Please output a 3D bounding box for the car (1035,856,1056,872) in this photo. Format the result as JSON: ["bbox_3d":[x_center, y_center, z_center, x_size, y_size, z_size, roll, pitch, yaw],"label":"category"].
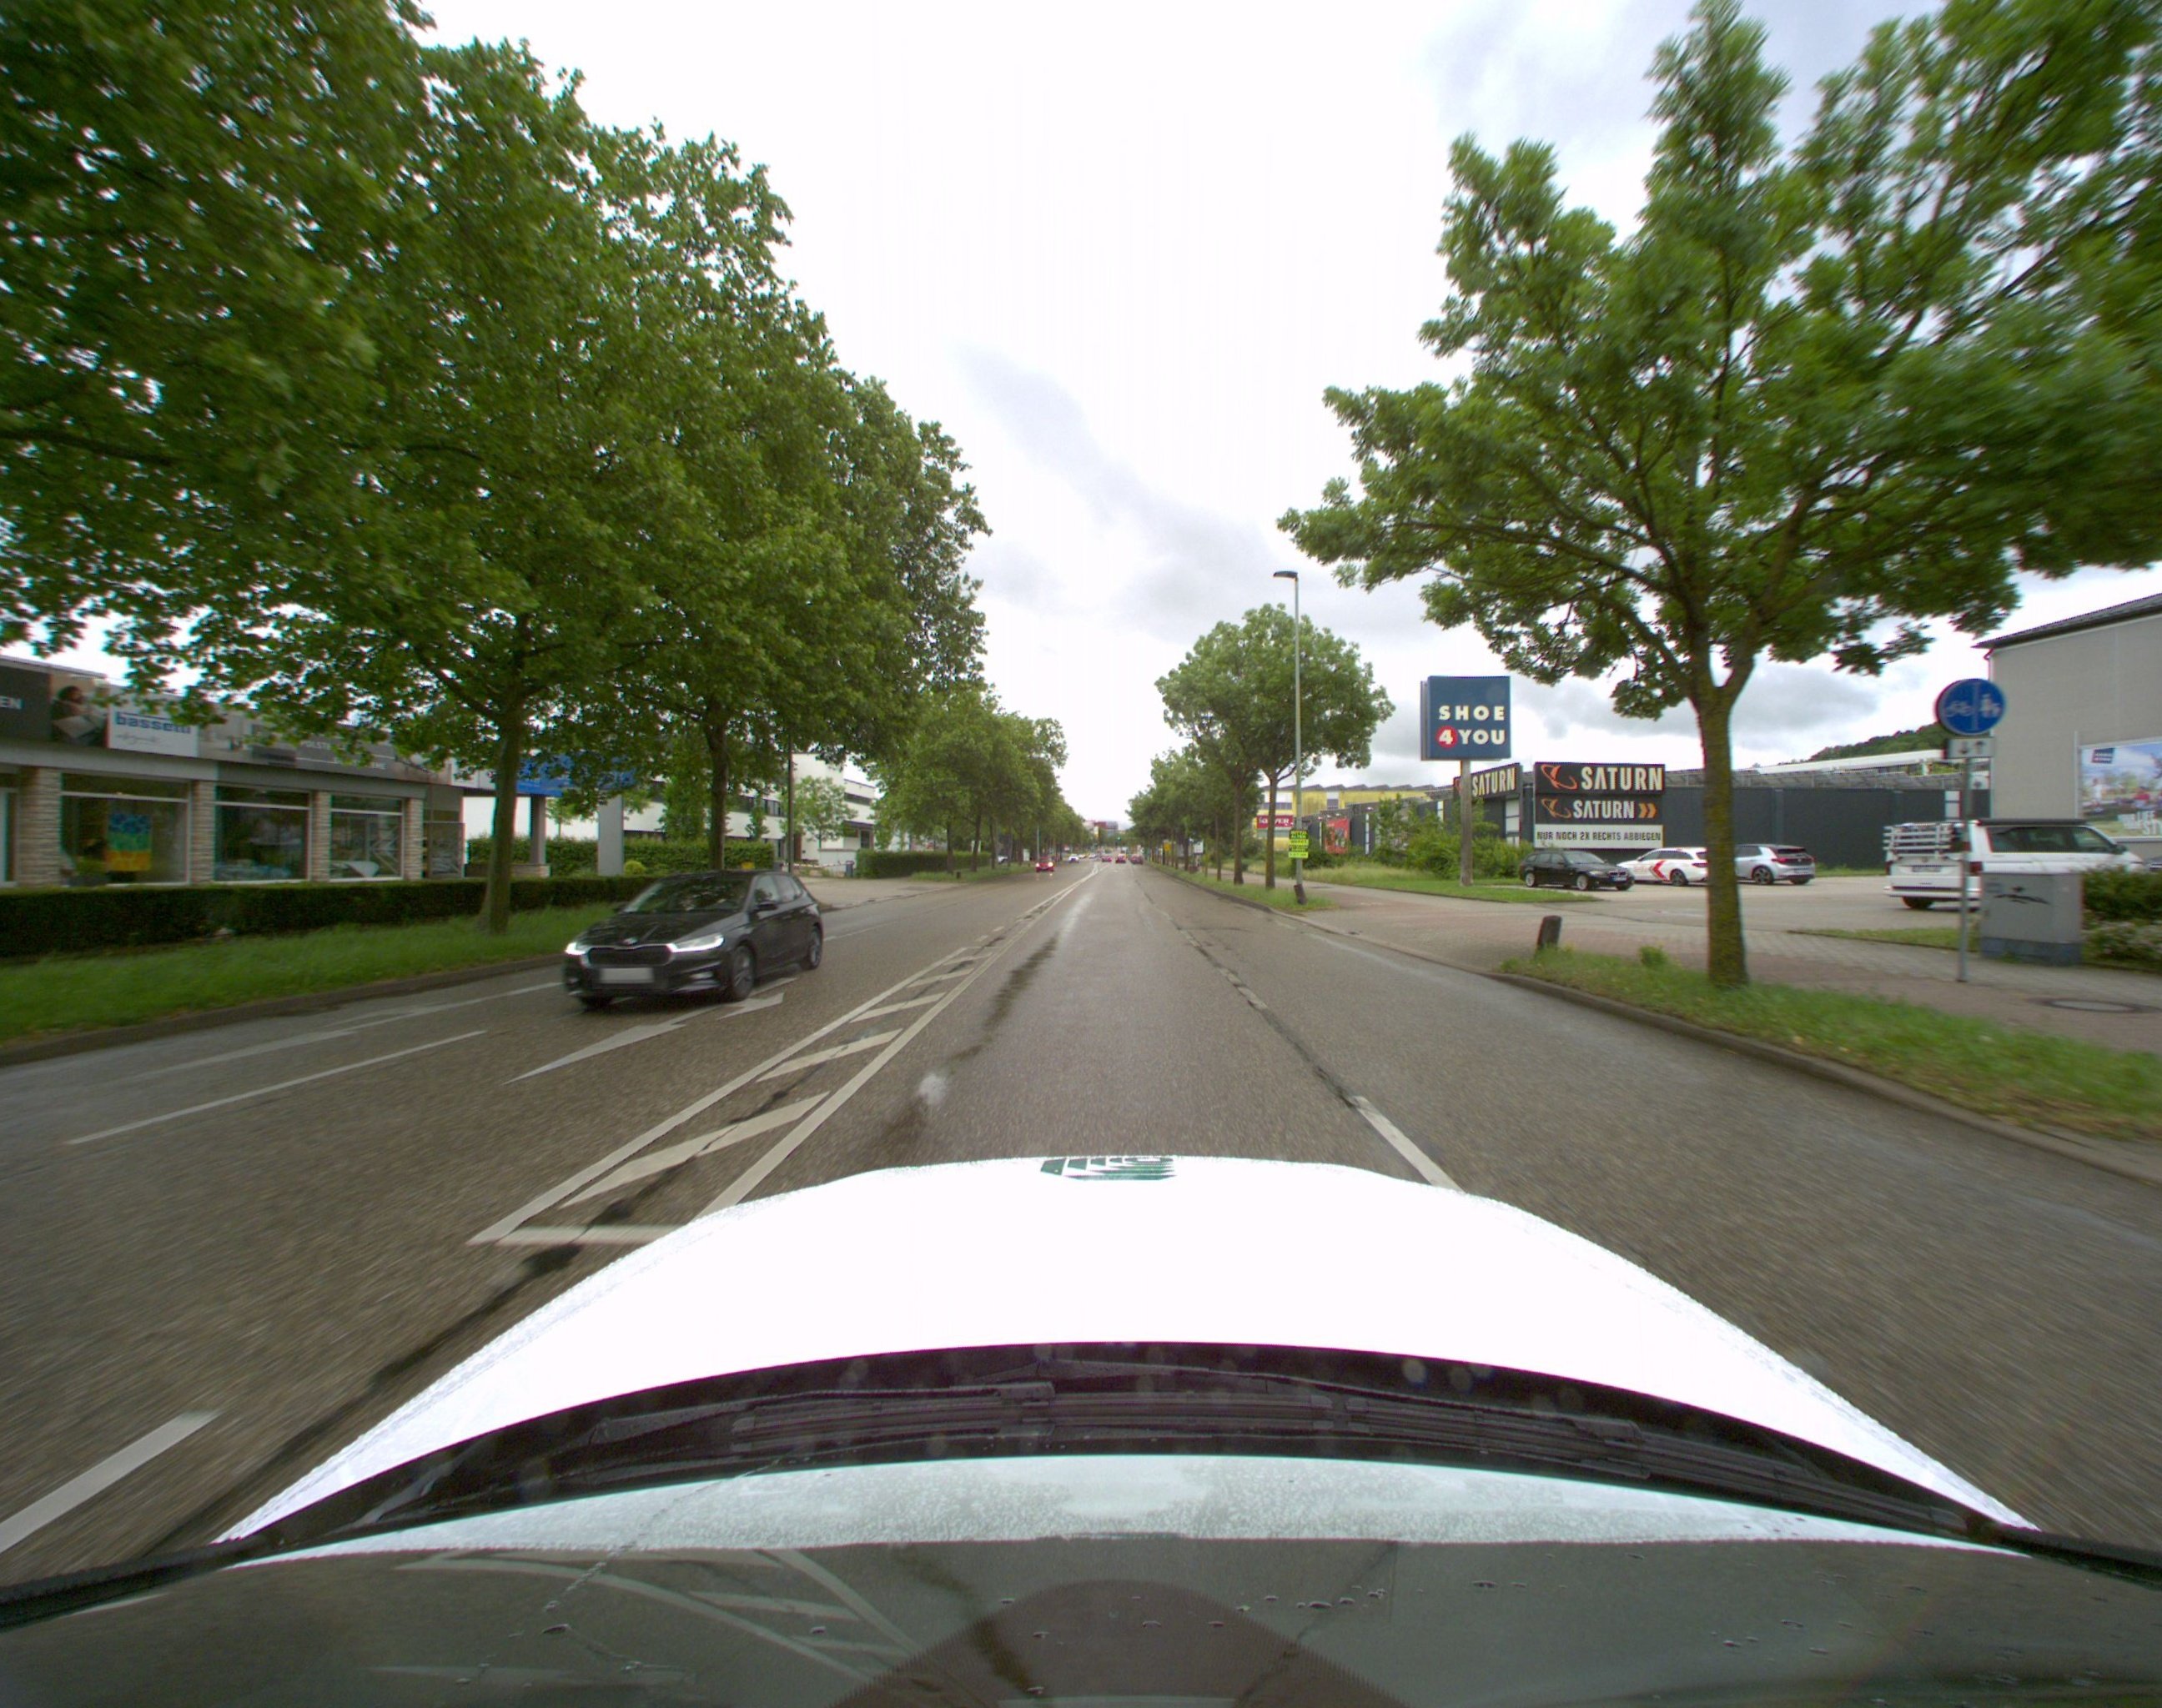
[{"bbox_3d":[-3.518,0.994,81.943,1.719,1.517,3.824,-1,0,3],"label":"car"}]

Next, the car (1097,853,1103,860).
[{"bbox_3d":[5.258,0.761,225.984,1.820,2.014,4.000,-1,0,1],"label":"car"}]

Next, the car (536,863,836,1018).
[{"bbox_3d":[-4.544,0.884,10.097,1.798,1.463,3.845,-2,0,0],"label":"car"}]

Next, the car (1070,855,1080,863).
[{"bbox_3d":[-1.145,1.012,165.617,1.696,1.737,4.005,-1,0,5],"label":"car"}]

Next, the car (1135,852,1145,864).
[{"bbox_3d":[10.568,0.716,146.291,1.737,2.014,4.004,-1,0,4],"label":"car"}]

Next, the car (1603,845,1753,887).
[{"bbox_3d":[23.147,0.429,31.871,1.878,1.468,4.941,-1,0,-7],"label":"car"}]

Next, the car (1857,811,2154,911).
[{"bbox_3d":[20.479,0.147,18.145,4.816,2.014,1.985,-1,-1,-7],"label":"car"}]

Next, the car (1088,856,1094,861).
[{"bbox_3d":[3.095,1.407,249.552,1.820,1.728,4.000,-1,0,1],"label":"car"}]

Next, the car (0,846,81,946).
[{"bbox_3d":[-17.028,0.641,11.115,1.816,1.486,3.941,-1,0,2],"label":"car"}]

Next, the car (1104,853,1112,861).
[{"bbox_3d":[6.617,0.735,198.716,1.883,1.876,4.126,-1,0,2],"label":"car"}]

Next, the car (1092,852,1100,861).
[{"bbox_3d":[3.616,0.648,197.303,1.986,2.014,4.002,-1,0,2],"label":"car"}]

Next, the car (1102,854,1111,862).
[{"bbox_3d":[5.748,0.972,183.951,1.737,1.701,4.004,-1,0,4],"label":"car"}]

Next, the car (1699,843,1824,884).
[{"bbox_3d":[25.952,0.357,31.211,1.578,1.441,3.579,-1,0,-7],"label":"car"}]

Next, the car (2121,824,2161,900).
[{"bbox_3d":[26.982,0.152,18.779,4.239,1.729,1.738,-1,0,-6],"label":"car"}]

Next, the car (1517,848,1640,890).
[{"bbox_3d":[18.187,0.503,30.027,1.576,1.428,4.256,-1,0,-7],"label":"car"}]

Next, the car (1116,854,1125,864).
[{"bbox_3d":[7.791,0.958,161.210,1.737,2.014,4.004,-1,0,4],"label":"car"}]

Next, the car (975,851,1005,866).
[{"bbox_3d":[-12.781,0.624,114.328,3.970,1.925,1.828,-1,-1,2],"label":"car"}]

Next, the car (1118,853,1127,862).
[{"bbox_3d":[8.939,0.725,174.602,1.737,1.737,4.004,-1,0,4],"label":"car"}]
